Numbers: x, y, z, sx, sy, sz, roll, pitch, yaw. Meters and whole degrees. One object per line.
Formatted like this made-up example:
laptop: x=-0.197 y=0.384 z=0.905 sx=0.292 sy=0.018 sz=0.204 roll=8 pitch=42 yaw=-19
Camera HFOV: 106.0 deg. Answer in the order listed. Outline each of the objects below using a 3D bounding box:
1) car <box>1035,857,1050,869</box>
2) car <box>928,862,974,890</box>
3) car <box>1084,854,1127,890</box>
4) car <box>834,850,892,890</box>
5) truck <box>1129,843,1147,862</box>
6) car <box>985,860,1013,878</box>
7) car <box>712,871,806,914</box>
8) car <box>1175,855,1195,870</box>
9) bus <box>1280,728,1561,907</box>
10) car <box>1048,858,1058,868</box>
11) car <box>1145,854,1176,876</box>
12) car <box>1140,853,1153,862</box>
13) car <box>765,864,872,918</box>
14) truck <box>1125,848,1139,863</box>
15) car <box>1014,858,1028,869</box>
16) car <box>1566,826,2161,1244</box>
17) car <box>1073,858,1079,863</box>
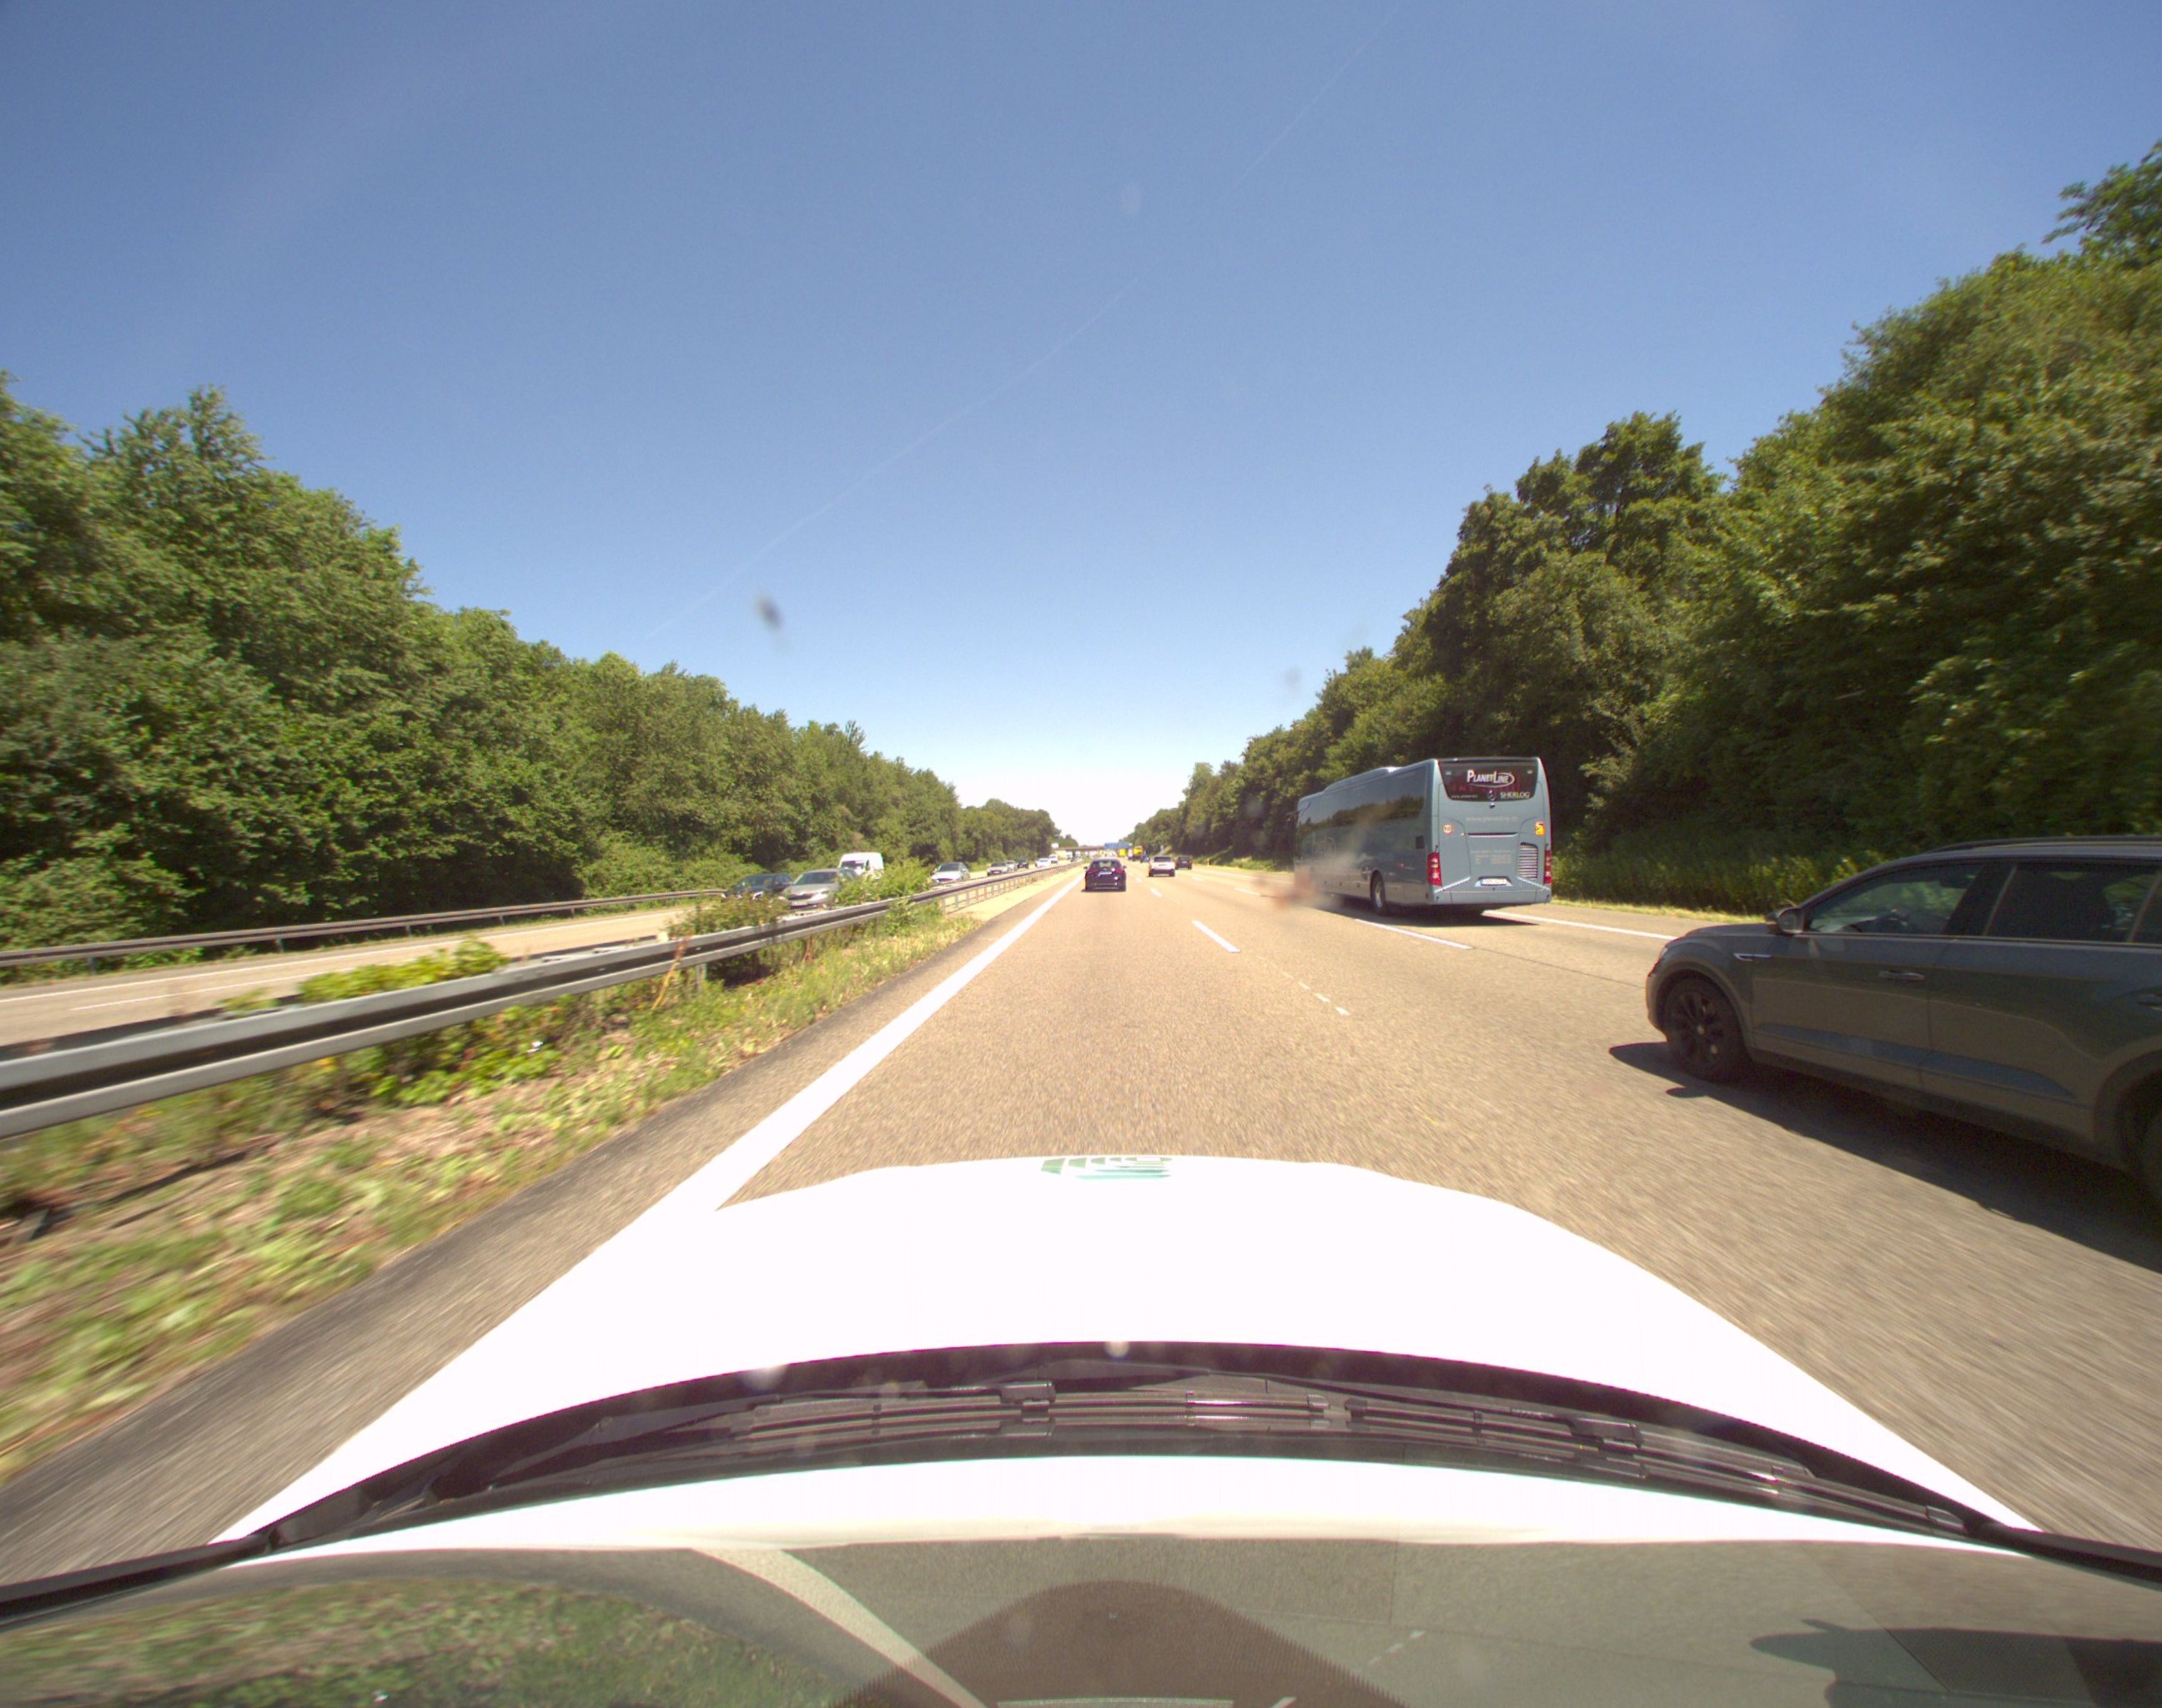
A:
car: x=-5.483 y=1.272 z=117.026 sx=1.814 sy=1.523 sz=4.824 roll=-2 pitch=0 yaw=1
car: x=-7.476 y=1.254 z=47.181 sx=1.842 sy=1.450 sz=4.208 roll=-3 pitch=0 yaw=1
car: x=1.076 y=0.766 z=36.329 sx=1.793 sy=1.502 sz=4.242 roll=-1 pitch=0 yaw=1
car: x=-15.270 y=1.054 z=57.458 sx=2.079 sy=2.552 sz=6.230 roll=-3 pitch=0 yaw=2
truck: x=14.582 y=-0.392 z=208.259 sx=3.635 sy=4.590 sz=15.767 roll=0 pitch=0 yaw=1
car: x=-7.258 y=1.314 z=72.043 sx=1.832 sy=1.383 sz=4.429 roll=-3 pitch=0 yaw=2
car: x=-12.379 y=1.437 z=31.662 sx=1.662 sy=1.402 sz=4.707 roll=-2 pitch=0 yaw=1
car: x=10.968 y=0.869 z=86.410 sx=1.782 sy=1.461 sz=3.952 roll=-1 pitch=0 yaw=3
bus: x=8.401 y=-0.722 z=22.754 sx=2.792 sy=3.596 sz=12.475 roll=-1 pitch=0 yaw=1
car: x=-7.007 y=2.206 z=205.467 sx=2.080 sy=2.288 sz=5.277 roll=-2 pitch=0 yaw=1
car: x=5.730 y=0.756 z=59.187 sx=1.893 sy=1.532 sz=4.242 roll=-1 pitch=0 yaw=1
car: x=12.876 y=0.723 z=160.169 sx=2.069 sy=1.751 sz=4.242 roll=-2 pitch=0 yaw=1
car: x=-8.489 y=1.142 z=26.827 sx=1.842 sy=1.450 sz=4.872 roll=-3 pitch=0 yaw=1
truck: x=16.152 y=0.368 z=257.855 sx=3.635 sy=4.590 sz=17.248 roll=0 pitch=0 yaw=1
car: x=-9.660 y=1.517 z=132.128 sx=1.814 sy=1.630 sz=4.798 roll=-2 pitch=0 yaw=1
car: x=4.925 y=0.651 z=4.340 sx=1.893 sy=1.532 sz=4.760 roll=-1 pitch=0 yaw=1
car: x=-1.463 y=1.797 z=236.058 sx=1.799 sy=1.480 sz=4.568 roll=-2 pitch=0 yaw=1
